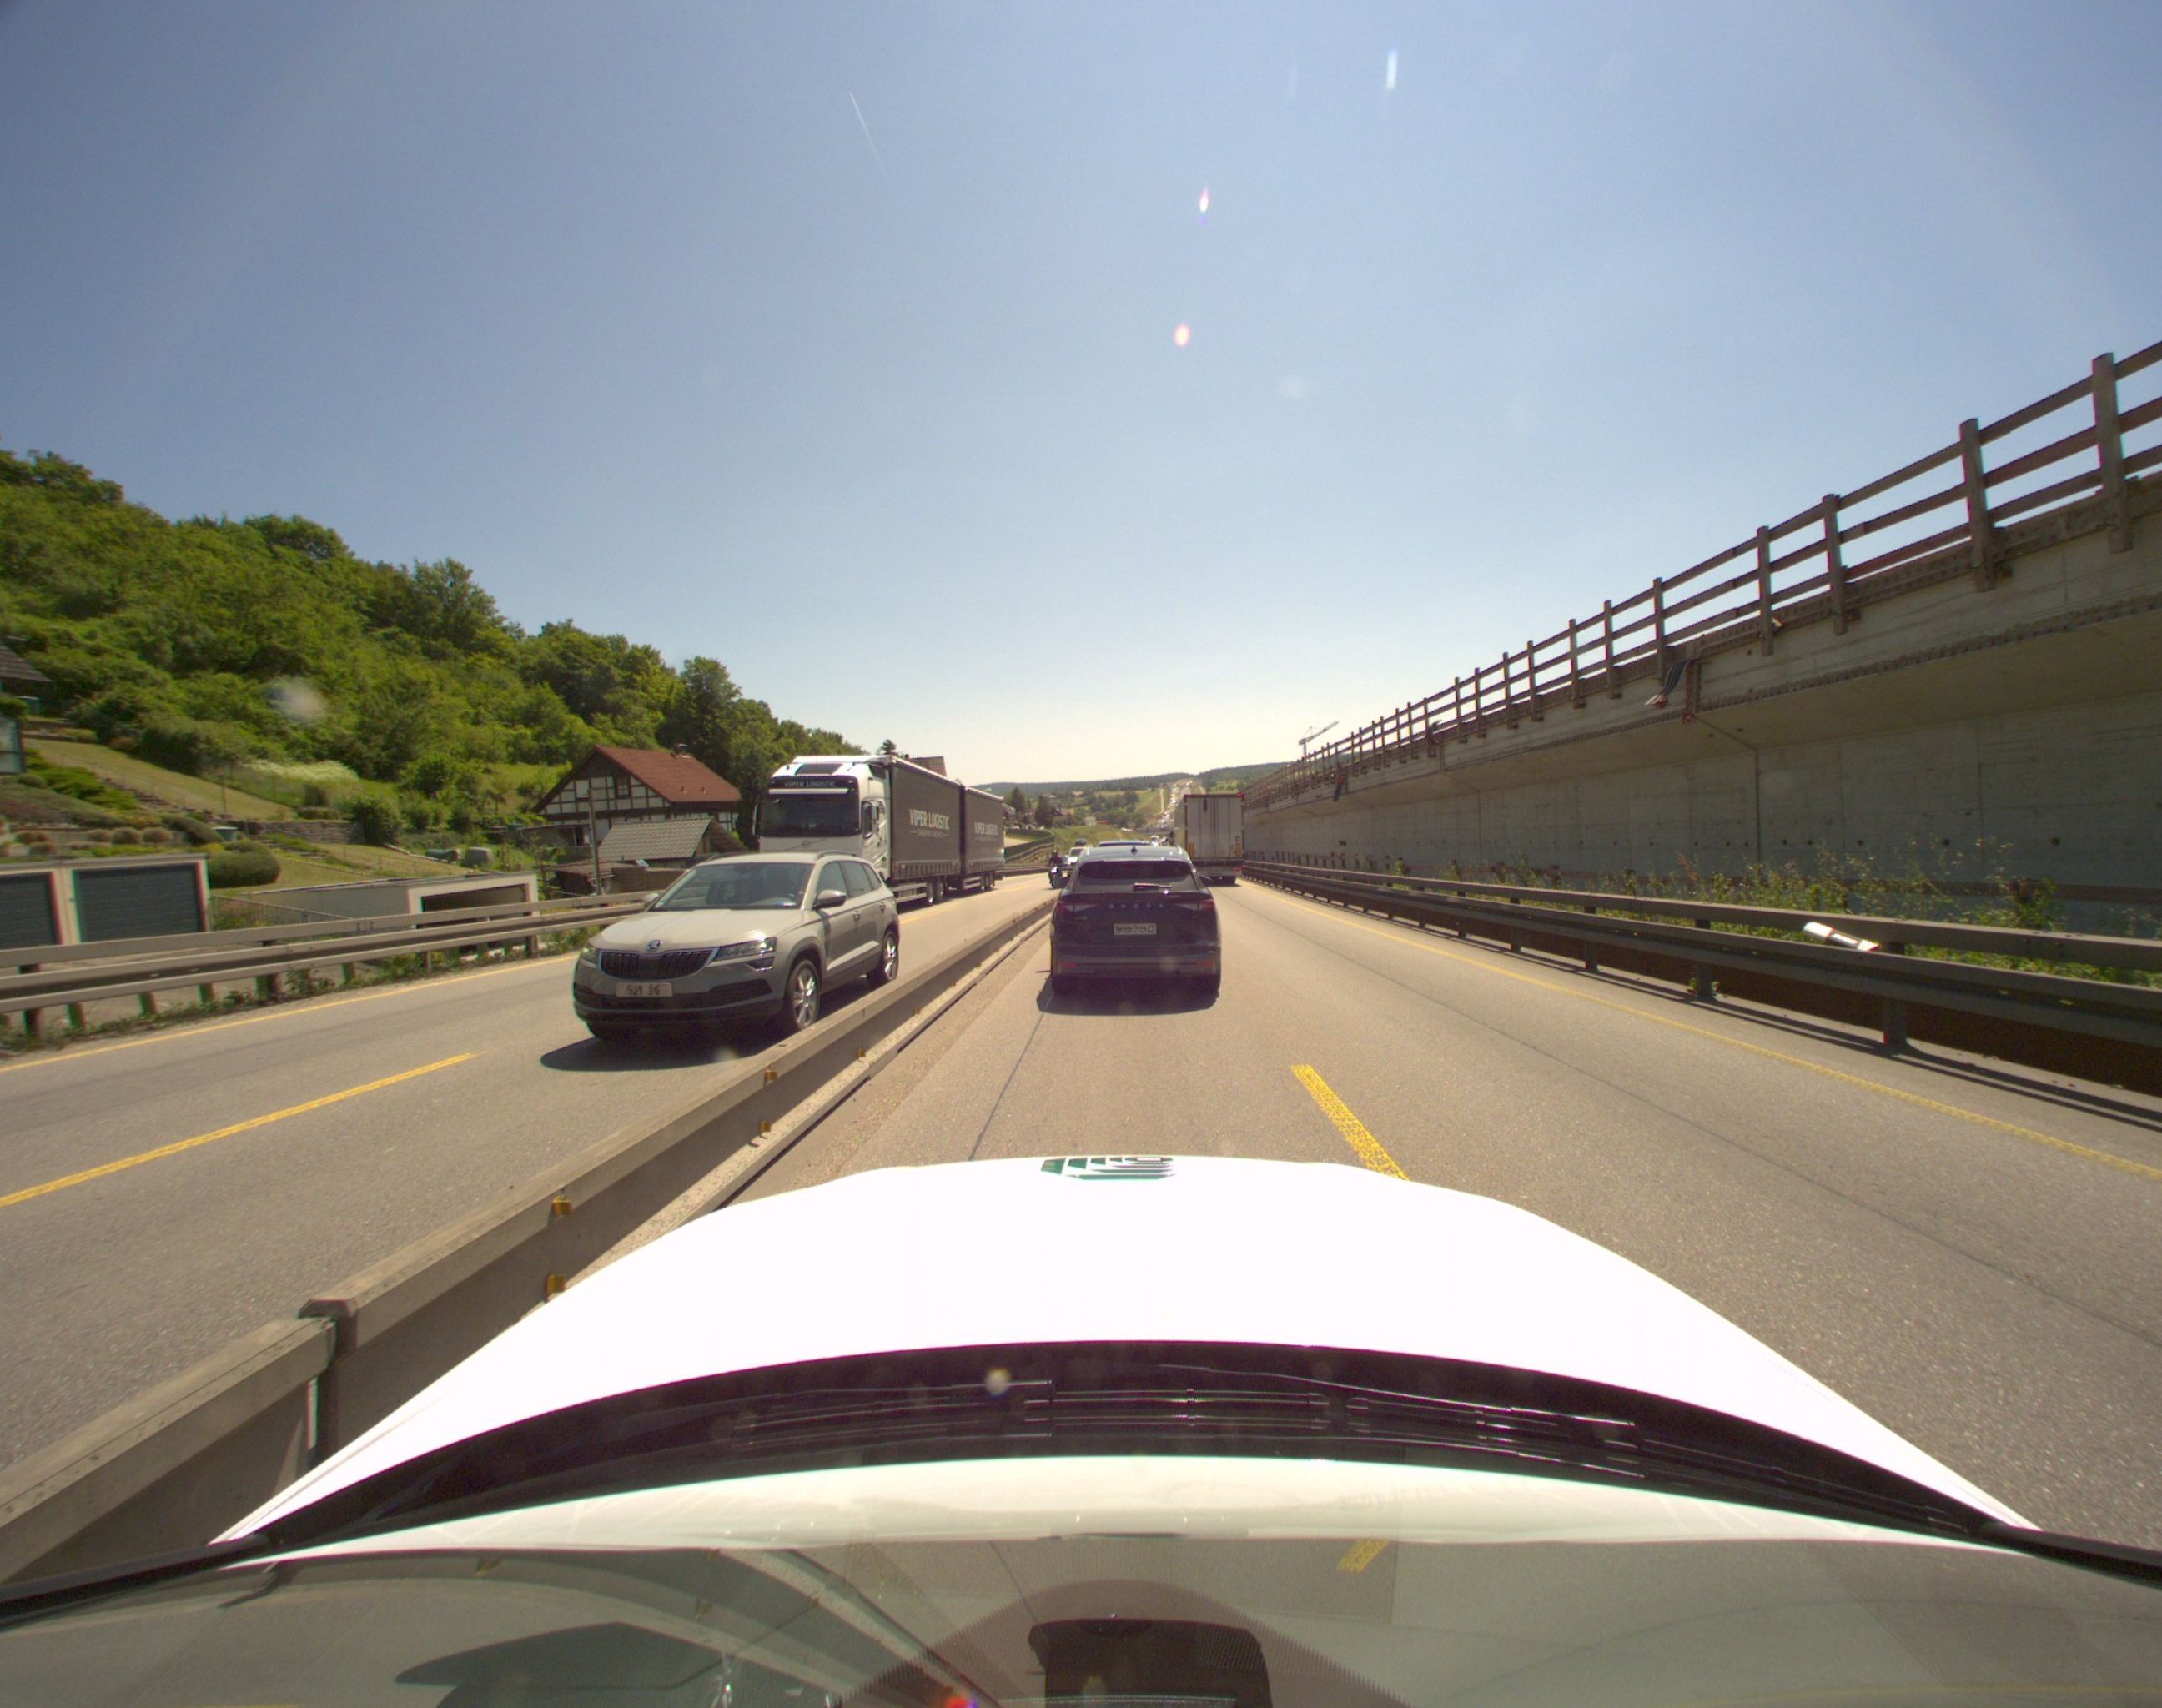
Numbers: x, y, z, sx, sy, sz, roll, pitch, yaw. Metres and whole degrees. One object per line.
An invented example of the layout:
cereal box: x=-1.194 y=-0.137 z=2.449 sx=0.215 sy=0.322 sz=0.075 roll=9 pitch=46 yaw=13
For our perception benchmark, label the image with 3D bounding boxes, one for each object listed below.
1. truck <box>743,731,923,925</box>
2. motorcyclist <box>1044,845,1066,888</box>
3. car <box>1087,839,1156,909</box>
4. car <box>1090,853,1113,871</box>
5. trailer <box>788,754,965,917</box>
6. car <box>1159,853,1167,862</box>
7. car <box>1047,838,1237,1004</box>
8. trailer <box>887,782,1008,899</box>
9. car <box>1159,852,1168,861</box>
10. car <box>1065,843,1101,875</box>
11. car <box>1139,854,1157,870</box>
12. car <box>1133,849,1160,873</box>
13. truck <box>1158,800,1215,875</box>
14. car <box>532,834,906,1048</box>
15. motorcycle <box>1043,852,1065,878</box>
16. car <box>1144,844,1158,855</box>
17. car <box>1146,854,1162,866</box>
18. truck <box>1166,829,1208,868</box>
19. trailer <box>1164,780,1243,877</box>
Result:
truck: x=-6.003 y=-0.579 z=20.586 sx=2.740 sy=4.283 sz=4.961 roll=-1 pitch=0 yaw=3
motorcyclist: x=-1.130 y=0.528 z=35.155 sx=0.850 sy=1.855 sz=0.984 roll=-1 pitch=0 yaw=2
car: x=1.120 y=0.520 z=24.103 sx=1.702 sy=1.881 sz=3.997 roll=0 pitch=1 yaw=-2
car: x=1.937 y=0.748 z=74.428 sx=1.985 sy=1.504 sz=4.652 roll=-1 pitch=-1 yaw=2
trailer: x=-5.716 y=-0.513 z=24.467 sx=2.745 sy=4.070 sz=8.016 roll=-1 pitch=1 yaw=4
car: x=17.290 y=0.732 z=171.355 sx=1.692 sy=1.728 sz=3.843 roll=-1 pitch=-1 yaw=6
car: x=0.529 y=0.676 z=9.872 sx=1.838 sy=1.586 sz=3.904 roll=0 pitch=-1 yaw=-2
trailer: x=-5.065 y=-0.519 z=32.776 sx=2.744 sy=4.070 sz=8.646 roll=-1 pitch=1 yaw=5
car: x=15.464 y=0.440 z=152.425 sx=1.692 sy=1.728 sz=3.843 roll=-1 pitch=-1 yaw=6
car: x=0.180 y=0.335 z=51.542 sx=2.014 sy=1.960 sz=4.901 roll=-1 pitch=-1 yaw=2
car: x=7.045 y=0.828 z=85.996 sx=1.700 sy=1.622 sz=4.001 roll=0 pitch=1 yaw=1
car: x=4.615 y=0.459 z=57.831 sx=1.700 sy=1.622 sz=4.001 roll=0 pitch=1 yaw=1
truck: x=6.024 y=-0.817 z=47.603 sx=2.504 sy=4.025 sz=8.241 roll=-1 pitch=-1 yaw=2
car: x=-3.199 y=0.692 z=8.240 sx=1.852 sy=1.611 sz=4.070 roll=-1 pitch=-1 yaw=2
motorcycle: x=-1.143 y=0.459 z=35.236 sx=0.783 sy=1.080 sz=1.914 roll=-1 pitch=0 yaw=2
car: x=11.121 y=-0.746 z=129.577 sx=1.986 sy=1.585 sz=3.838 roll=-1 pitch=-1 yaw=2
car: x=9.821 y=0.768 z=109.926 sx=1.986 sy=1.585 sz=3.838 roll=-1 pitch=-1 yaw=2
truck: x=9.251 y=-0.351 z=72.579 sx=3.180 sy=3.191 sz=12.826 roll=-1 pitch=-1 yaw=5
trailer: x=5.820 y=-1.002 z=40.671 sx=2.522 sy=4.127 sz=11.551 roll=-1 pitch=-1 yaw=2
